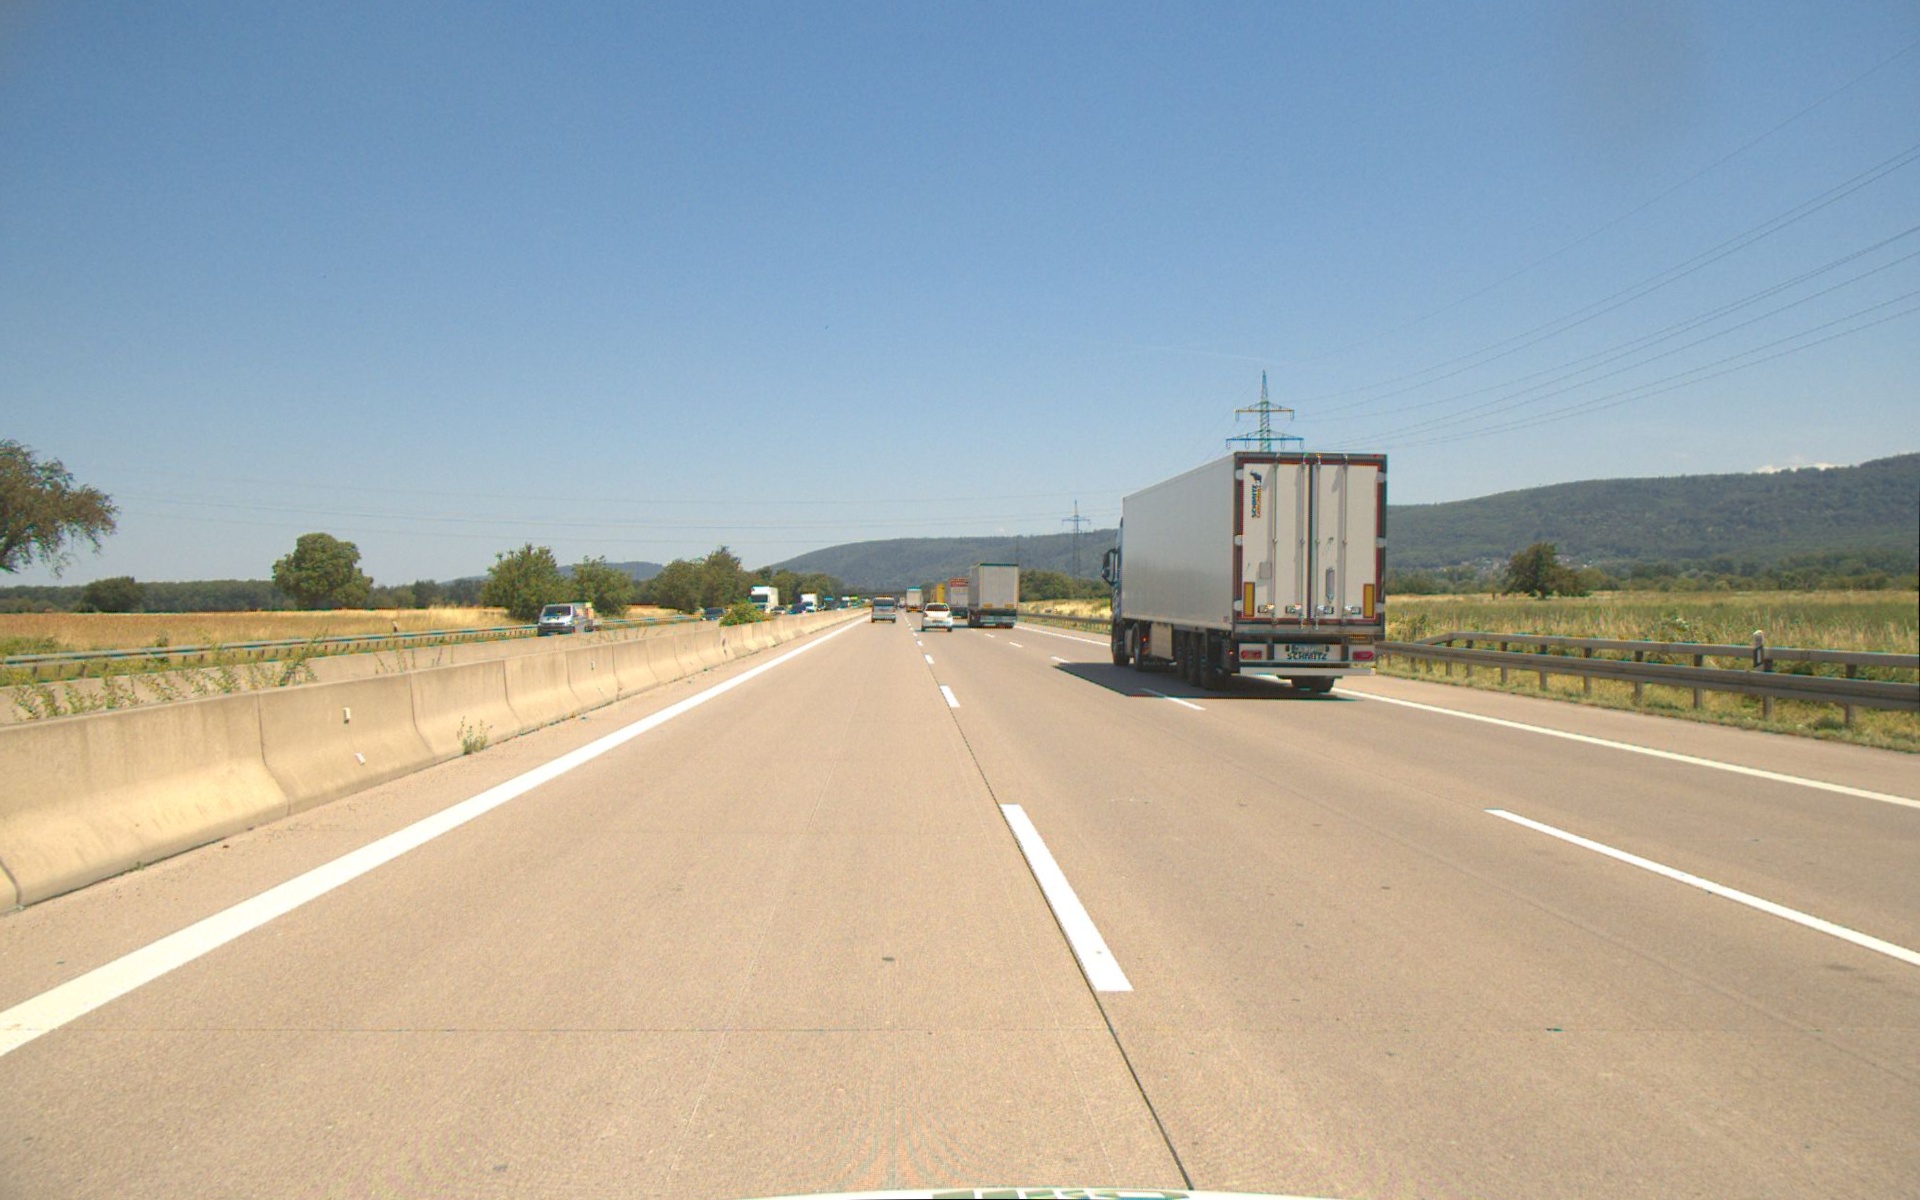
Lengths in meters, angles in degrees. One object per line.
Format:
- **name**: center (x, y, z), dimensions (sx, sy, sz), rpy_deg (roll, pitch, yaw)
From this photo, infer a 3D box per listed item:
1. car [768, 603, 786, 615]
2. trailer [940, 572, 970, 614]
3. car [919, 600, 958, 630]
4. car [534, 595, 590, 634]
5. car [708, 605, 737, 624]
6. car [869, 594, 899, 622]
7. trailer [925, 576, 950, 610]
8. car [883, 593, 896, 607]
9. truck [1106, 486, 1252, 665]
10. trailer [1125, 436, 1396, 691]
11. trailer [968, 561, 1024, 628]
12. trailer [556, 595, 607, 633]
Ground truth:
- **car**: center (-21.389, 1.016, 193.666), dimensions (1.701, 1.397, 4.903), rpy_deg (1, 0, -3)
- **trailer**: center (-0.548, -0.673, 173.538), dimensions (2.815, 4.172, 13.508), rpy_deg (1, 0, -1)
- **car**: center (-1.164, 0.804, 90.372), dimensions (2.064, 1.563, 4.121), rpy_deg (1, 0, -1)
- **car**: center (-21.490, 0.778, 89.562), dimensions (1.827, 1.978, 5.563), rpy_deg (1, 0, -2)
- **car**: center (-18.305, 1.112, 127.595), dimensions (1.678, 1.383, 5.040), rpy_deg (1, 0, -3)
- **car**: center (-5.821, 0.611, 127.196), dimensions (2.209, 2.049, 4.296), rpy_deg (1, 0, -1)
- **trailer**: center (-3.279, -0.924, 235.221), dimensions (3.151, 4.643, 13.451), rpy_deg (1, 0, -2)
- **car**: center (-10.223, 0.035, 240.259), dimensions (1.748, 1.914, 3.998), rpy_deg (1, 0, -2)
- **truck**: center (5.335, -0.566, 41.186), dimensions (2.695, 4.114, 5.463), rpy_deg (1, 0, -2)
- **trailer**: center (5.571, -0.577, 33.504), dimensions (2.654, 4.114, 12.896), rpy_deg (1, 0, -2)
- **trailer**: center (2.307, -0.328, 110.850), dimensions (2.957, 4.132, 14.201), rpy_deg (1, 0, -2)
- **trailer**: center (-21.673, 0.763, 94.836), dimensions (1.773, 2.078, 5.611), rpy_deg (1, 0, -2)
